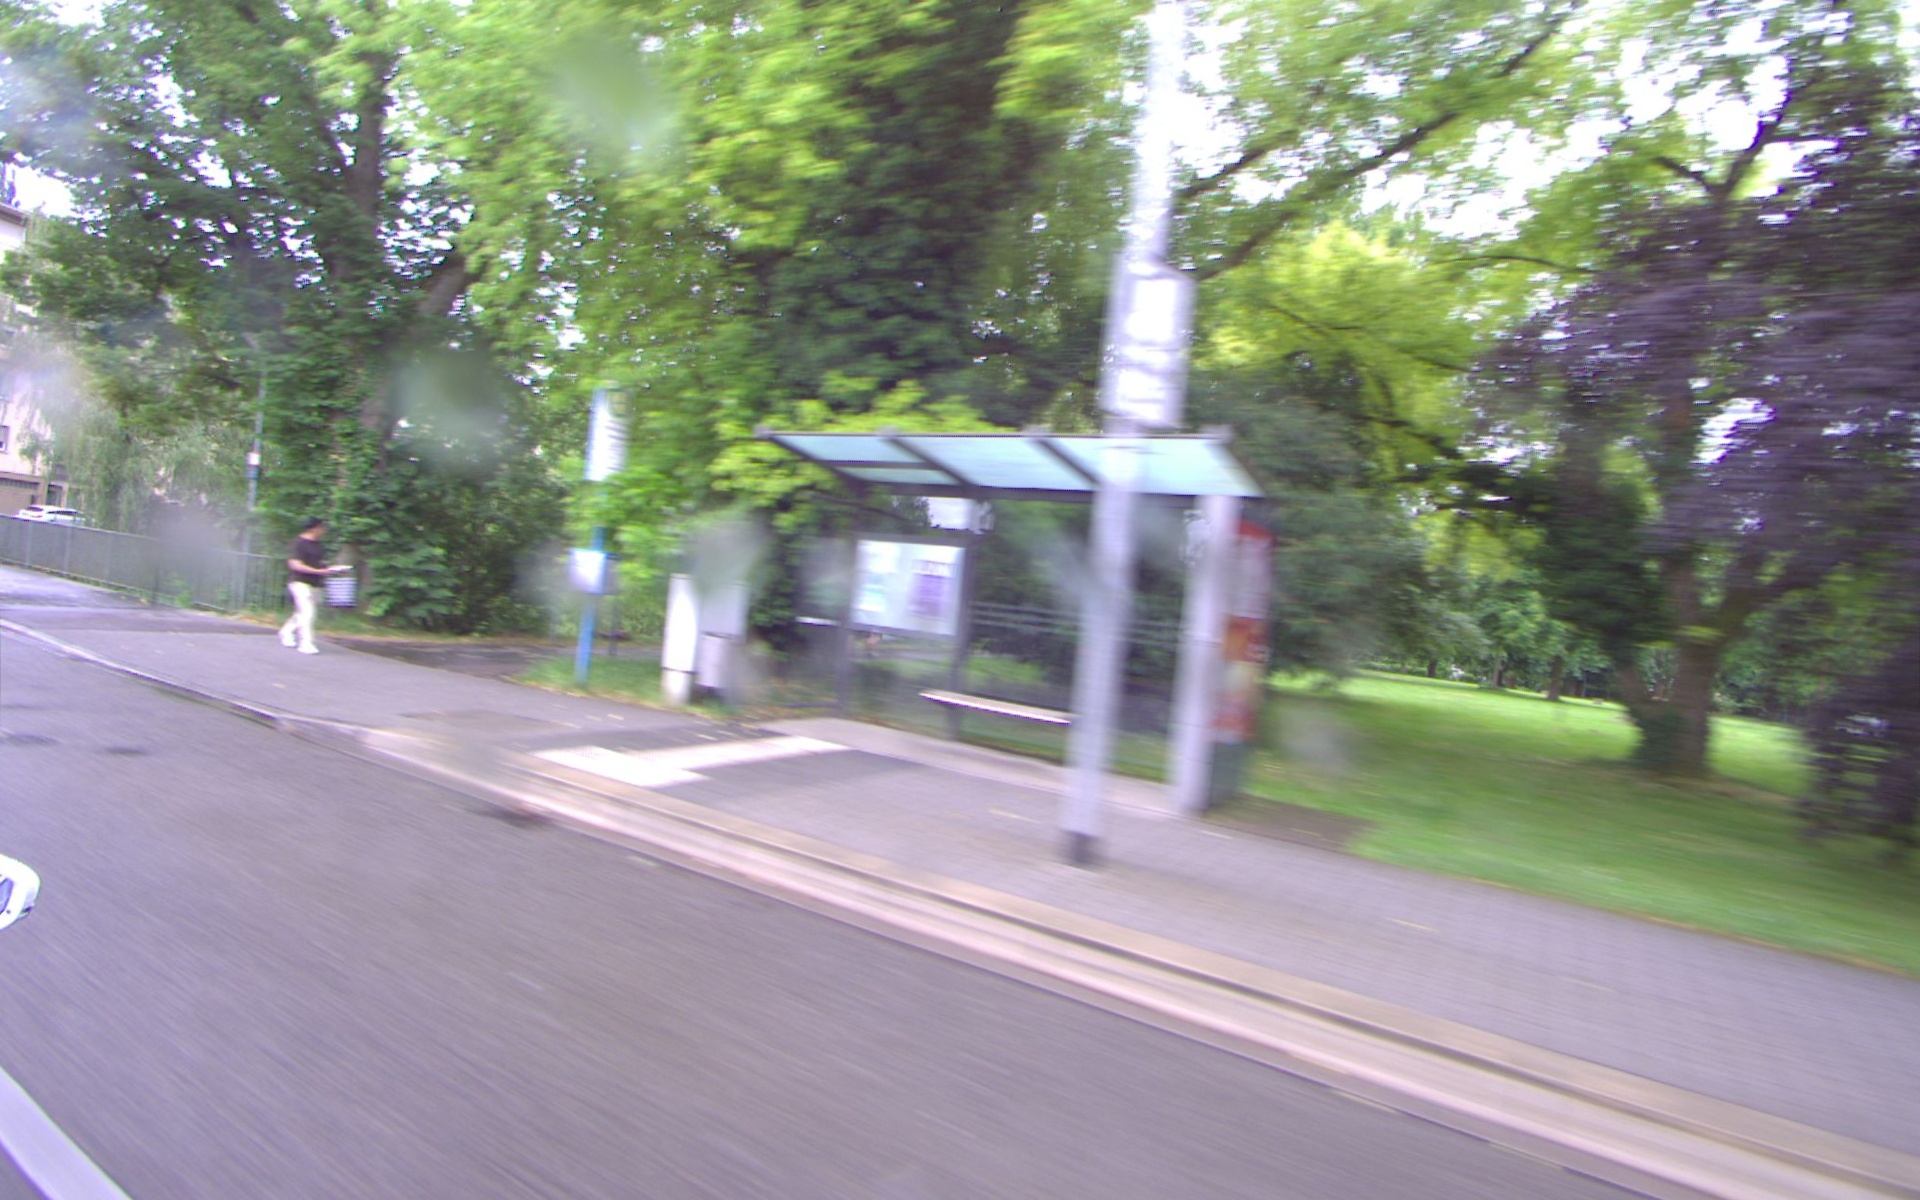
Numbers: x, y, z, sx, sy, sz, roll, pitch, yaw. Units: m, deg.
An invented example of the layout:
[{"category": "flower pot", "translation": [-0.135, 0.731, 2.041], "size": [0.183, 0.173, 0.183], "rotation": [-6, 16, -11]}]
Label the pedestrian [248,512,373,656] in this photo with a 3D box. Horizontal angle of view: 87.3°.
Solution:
[{"category": "pedestrian", "translation": [-8.296, -0.200, 12.852], "size": [1.148, 1.698, 0.848], "rotation": [6, 2, 31]}]

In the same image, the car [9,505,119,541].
[{"category": "car", "translation": [-52.323, -4.463, 58.875], "size": [1.782, 1.393, 4.455], "rotation": [9, 0, 15]}]
